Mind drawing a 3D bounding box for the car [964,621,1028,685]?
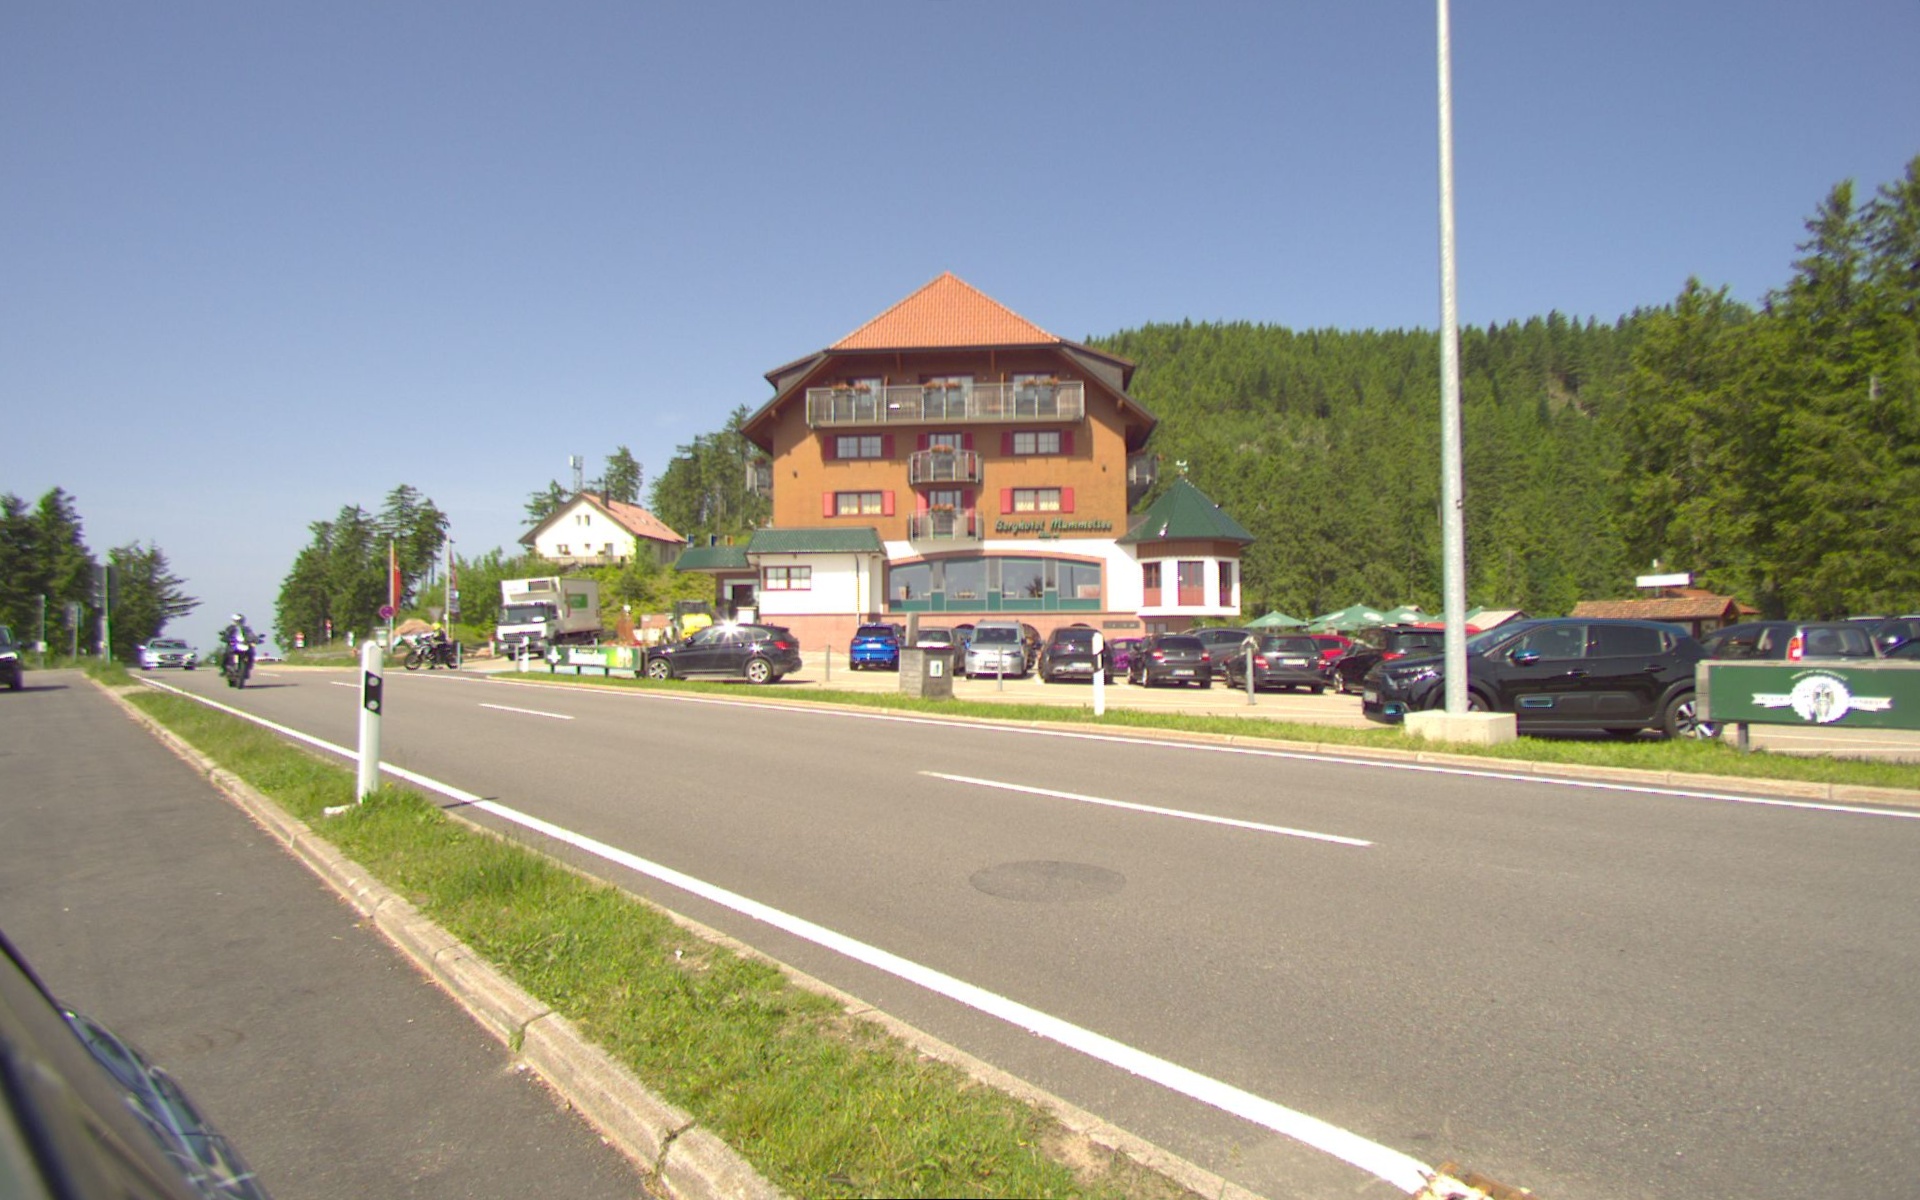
[{"bbox_3d":[1.206,1.676,31.930,1.812,1.878,4.523,-1,-3,5],"label":"car"}]

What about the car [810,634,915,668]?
[{"bbox_3d":[-3.829,2.032,40.084,3.949,1.307,1.711,-1,-3,5],"label":"car"}]

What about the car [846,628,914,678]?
[{"bbox_3d":[-2.792,1.856,36.239,1.913,1.676,4.542,0,-2,2],"label":"car"}]

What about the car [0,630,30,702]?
[{"bbox_3d":[-23.365,1.546,23.875,1.955,1.629,4.155,1,-3,-41],"label":"car"}]

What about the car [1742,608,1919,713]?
[{"bbox_3d":[18.426,1.210,20.496,1.972,1.918,3.999,0,-3,0],"label":"car"}]

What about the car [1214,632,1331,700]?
[{"bbox_3d":[7.516,1.598,24.748,1.693,1.497,4.076,0,-3,2],"label":"car"}]

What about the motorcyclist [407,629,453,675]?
[{"bbox_3d":[-20.450,2.001,39.084,1.063,1.733,1.232,-1,-2,37],"label":"motorcyclist"}]

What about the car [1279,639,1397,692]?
[{"bbox_3d":[10.961,1.897,29.645,1.908,1.429,3.999,0,-3,0],"label":"car"}]

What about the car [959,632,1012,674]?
[{"bbox_3d":[0.931,2.032,38.581,1.908,1.494,3.999,0,-3,0],"label":"car"}]

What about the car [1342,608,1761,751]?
[{"bbox_3d":[6.939,0.939,12.309,3.954,1.564,1.778,-1,-3,9],"label":"car"}]

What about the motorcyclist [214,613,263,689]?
[{"bbox_3d":[-17.145,1.179,24.064,0.910,1.731,1.455,1,-1,-35],"label":"motorcyclist"}]

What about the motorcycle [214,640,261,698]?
[{"bbox_3d":[-17.239,1.608,24.175,0.864,1.266,2.283,1,-1,-35],"label":"motorcycle"}]

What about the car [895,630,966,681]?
[{"bbox_3d":[-0.900,1.835,33.518,1.974,1.557,3.994,-1,-3,4],"label":"car"}]

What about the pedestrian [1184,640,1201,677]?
[{"bbox_3d":[10.422,2.618,45.377,0.695,1.645,0.624,-1,-3,11],"label":"pedestrian"}]

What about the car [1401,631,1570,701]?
[{"bbox_3d":[12.657,1.579,24.694,1.972,1.564,3.999,0,-3,0],"label":"car"}]

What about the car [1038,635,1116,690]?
[{"bbox_3d":[3.270,1.776,28.971,1.888,1.441,3.997,0,-3,2],"label":"car"}]

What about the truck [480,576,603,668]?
[{"bbox_3d":[-20.302,1.039,49.792,3.023,4.002,8.782,-3,0,-5],"label":"truck"}]

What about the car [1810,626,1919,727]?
[{"bbox_3d":[15.862,1.189,15.810,1.875,1.557,3.995,-1,-3,4],"label":"car"}]

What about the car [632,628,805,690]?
[{"bbox_3d":[-6.331,1.572,26.870,4.137,1.552,1.806,-1,-3,3],"label":"car"}]

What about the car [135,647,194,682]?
[{"bbox_3d":[-35.549,2.864,45.190,1.755,1.468,4.004,3,-4,-42],"label":"car"}]

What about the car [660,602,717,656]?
[{"bbox_3d":[-13.525,1.494,50.229,1.965,2.515,4.013,1,-4,-26],"label":"car"}]

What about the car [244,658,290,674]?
[{"bbox_3d":[-90.243,8.622,131.804,4.657,1.896,1.935,5,-7,-39],"label":"car"}]

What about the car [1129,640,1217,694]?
[{"bbox_3d":[5.594,1.769,26.931,1.565,1.331,3.638,0,-3,0],"label":"car"}]

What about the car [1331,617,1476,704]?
[{"bbox_3d":[9.534,1.311,22.097,1.804,1.717,3.990,-1,-3,8],"label":"car"}]

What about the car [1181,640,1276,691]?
[{"bbox_3d":[8.378,2.039,31.927,1.908,1.494,3.999,0,-3,0],"label":"car"}]

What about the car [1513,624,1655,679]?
[{"bbox_3d":[18.945,1.588,30.956,1.884,1.542,3.880,0,-3,0],"label":"car"}]

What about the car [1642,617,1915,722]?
[{"bbox_3d":[13.847,1.178,17.451,1.712,1.600,3.729,-1,-3,3],"label":"car"}]

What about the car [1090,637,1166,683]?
[{"bbox_3d":[5.640,2.037,34.528,1.908,1.494,3.999,0,-3,0],"label":"car"}]

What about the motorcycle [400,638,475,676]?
[{"bbox_3d":[-20.254,2.189,39.295,1.004,1.417,2.414,-1,-2,37],"label":"motorcycle"}]

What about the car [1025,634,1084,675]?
[{"bbox_3d":[3.606,2.118,39.291,1.908,1.494,3.999,0,-3,0],"label":"car"}]
